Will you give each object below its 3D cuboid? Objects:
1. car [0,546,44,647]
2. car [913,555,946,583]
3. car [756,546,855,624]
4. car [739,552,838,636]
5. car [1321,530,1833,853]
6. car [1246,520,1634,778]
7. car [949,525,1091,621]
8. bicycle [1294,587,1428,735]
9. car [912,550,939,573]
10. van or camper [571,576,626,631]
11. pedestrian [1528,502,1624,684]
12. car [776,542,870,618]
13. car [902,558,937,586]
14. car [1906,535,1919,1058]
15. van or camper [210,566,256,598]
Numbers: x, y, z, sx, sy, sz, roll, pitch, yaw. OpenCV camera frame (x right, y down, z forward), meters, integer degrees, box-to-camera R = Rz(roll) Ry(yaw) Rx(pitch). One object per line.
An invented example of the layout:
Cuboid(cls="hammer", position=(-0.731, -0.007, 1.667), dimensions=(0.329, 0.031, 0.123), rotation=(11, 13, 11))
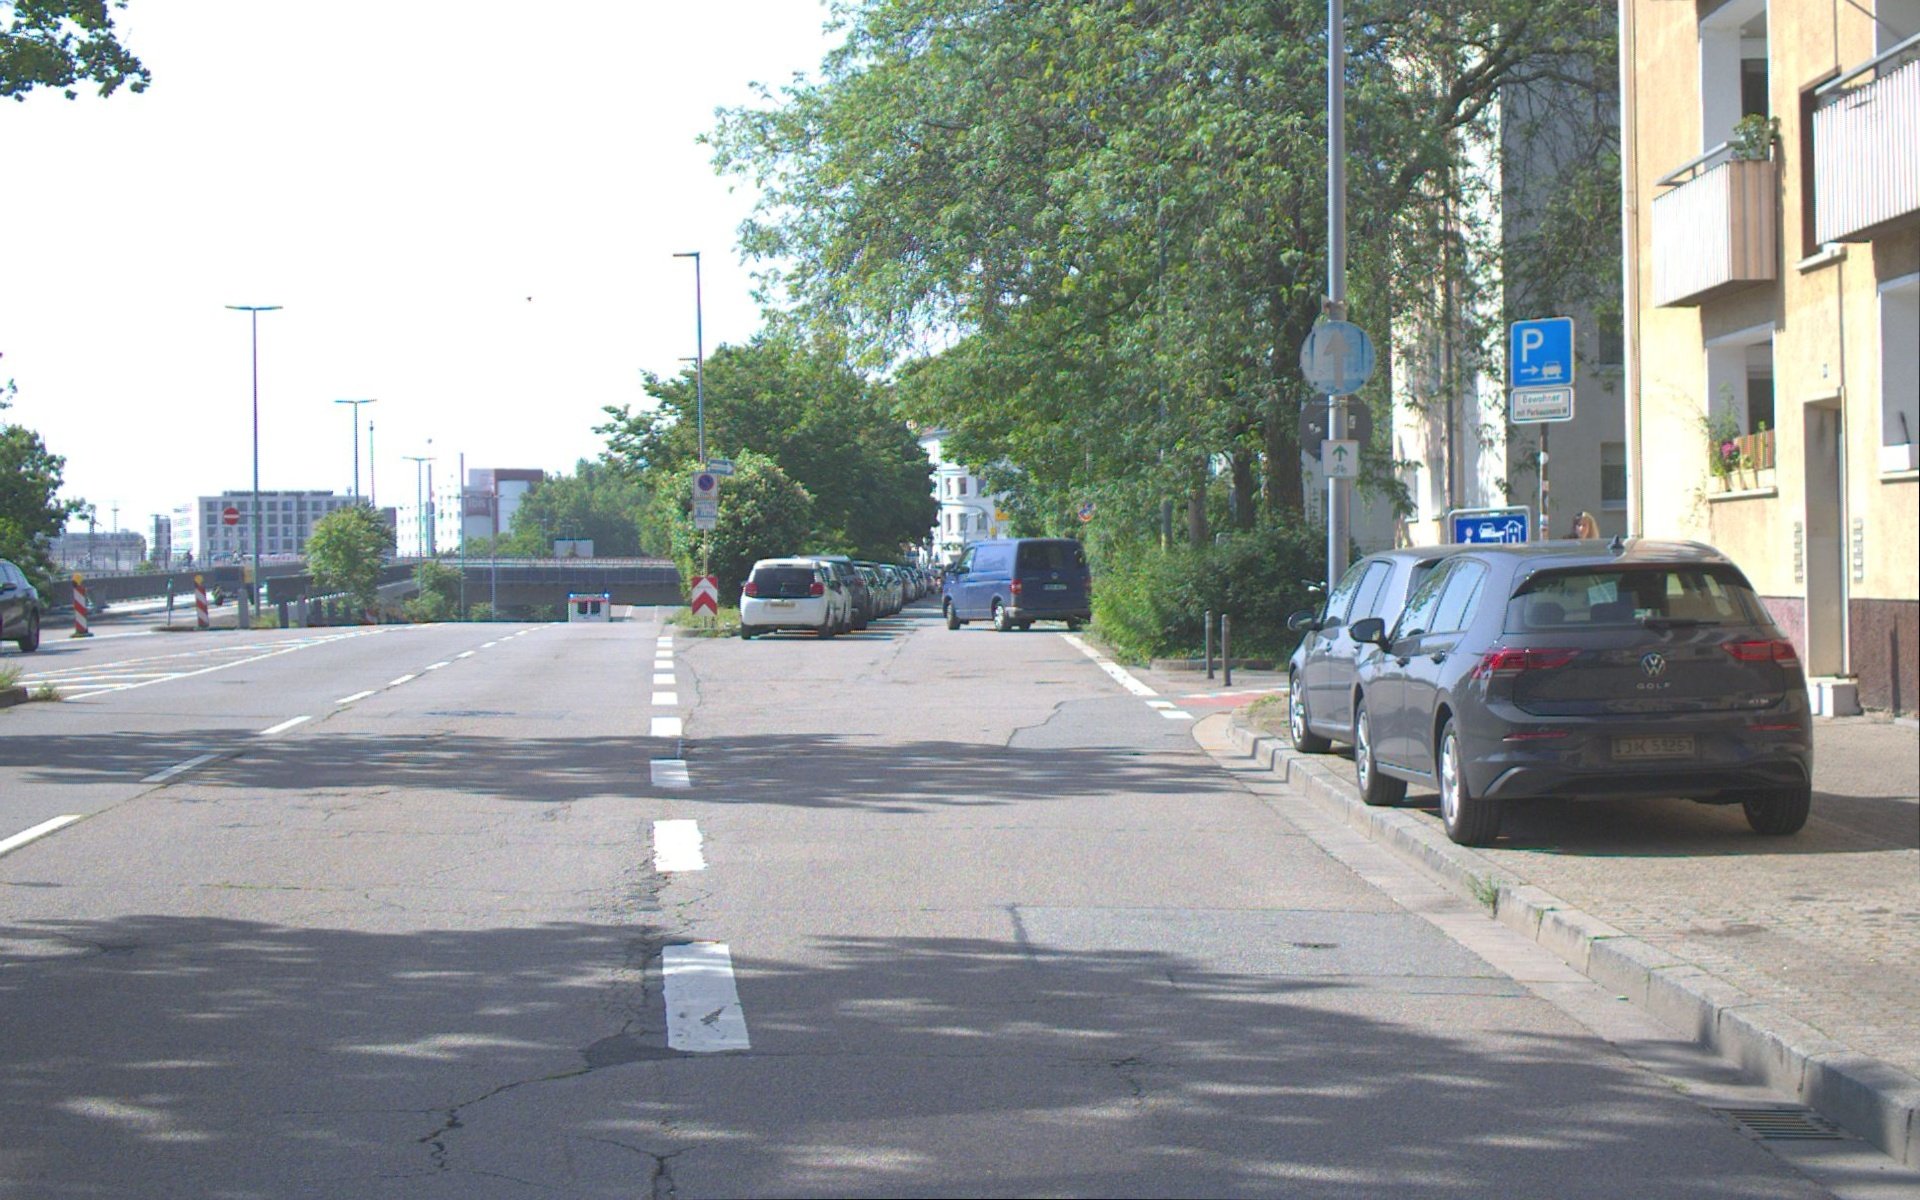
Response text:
Cuboid(cls="car", position=(-17.496, -0.056, 60.011), dimensions=(1.993, 1.728, 4.730), rotation=(-1, 1, -3))
Cuboid(cls="car", position=(-1.886, -1.908, 212.328), dimensions=(1.993, 1.651, 4.000), rotation=(-1, 1, 0))
Cuboid(cls="car", position=(-3.081, -0.329, 69.149), dimensions=(1.721, 1.500, 4.132), rotation=(-1, 1, 1))
Cuboid(cls="car", position=(-3.199, -0.138, 64.630), dimensions=(1.619, 1.500, 3.461), rotation=(-1, 1, 1))
Cuboid(cls="car", position=(3.098, 0.387, 18.117), dimensions=(1.710, 1.457, 4.256), rotation=(-2, 1, -3))
Cuboid(cls="car", position=(3.119, 0.253, 23.153), dimensions=(1.703, 1.509, 4.092), rotation=(-3, 1, -4))
Cuboid(cls="car", position=(1.231, -0.591, 72.398), dimensions=(1.882, 1.915, 4.010), rotation=(1, 1, -16))
Cuboid(cls="bicycle", position=(3.213, 0.473, 27.679), dimensions=(0.702, 1.120, 1.745), rotation=(-1, 1, -6))
Cuboid(cls="car", position=(-2.559, -2.857, 255.188), dimensions=(1.993, 1.651, 4.000), rotation=(-1, 1, 0))
Cuboid(cls="van or camper", position=(-18.971, 0.154, 180.649), dimensions=(2.296, 2.780, 5.571), rotation=(-1, 1, -1))
Cuboid(cls="pedestrian", position=(5.618, -0.071, 31.399), dimensions=(0.655, 1.603, 0.824), rotation=(-3, 1, 1))
Cuboid(cls="car", position=(-3.006, -0.455, 74.540), dimensions=(1.771, 1.574, 4.187), rotation=(-1, 1, -6))
Cuboid(cls="car", position=(-2.392, -1.655, 202.533), dimensions=(1.993, 1.651, 4.000), rotation=(-1, 1, 0))
Cuboid(cls="car", position=(3.639, 0.551, 7.080), dimensions=(1.800, 1.433, 4.591), rotation=(-2, 1, -4))
Cuboid(cls="van or camper", position=(-32.350, -0.812, 153.027), dimensions=(1.466, 1.345, 4.631), rotation=(-1, 1, -6))
